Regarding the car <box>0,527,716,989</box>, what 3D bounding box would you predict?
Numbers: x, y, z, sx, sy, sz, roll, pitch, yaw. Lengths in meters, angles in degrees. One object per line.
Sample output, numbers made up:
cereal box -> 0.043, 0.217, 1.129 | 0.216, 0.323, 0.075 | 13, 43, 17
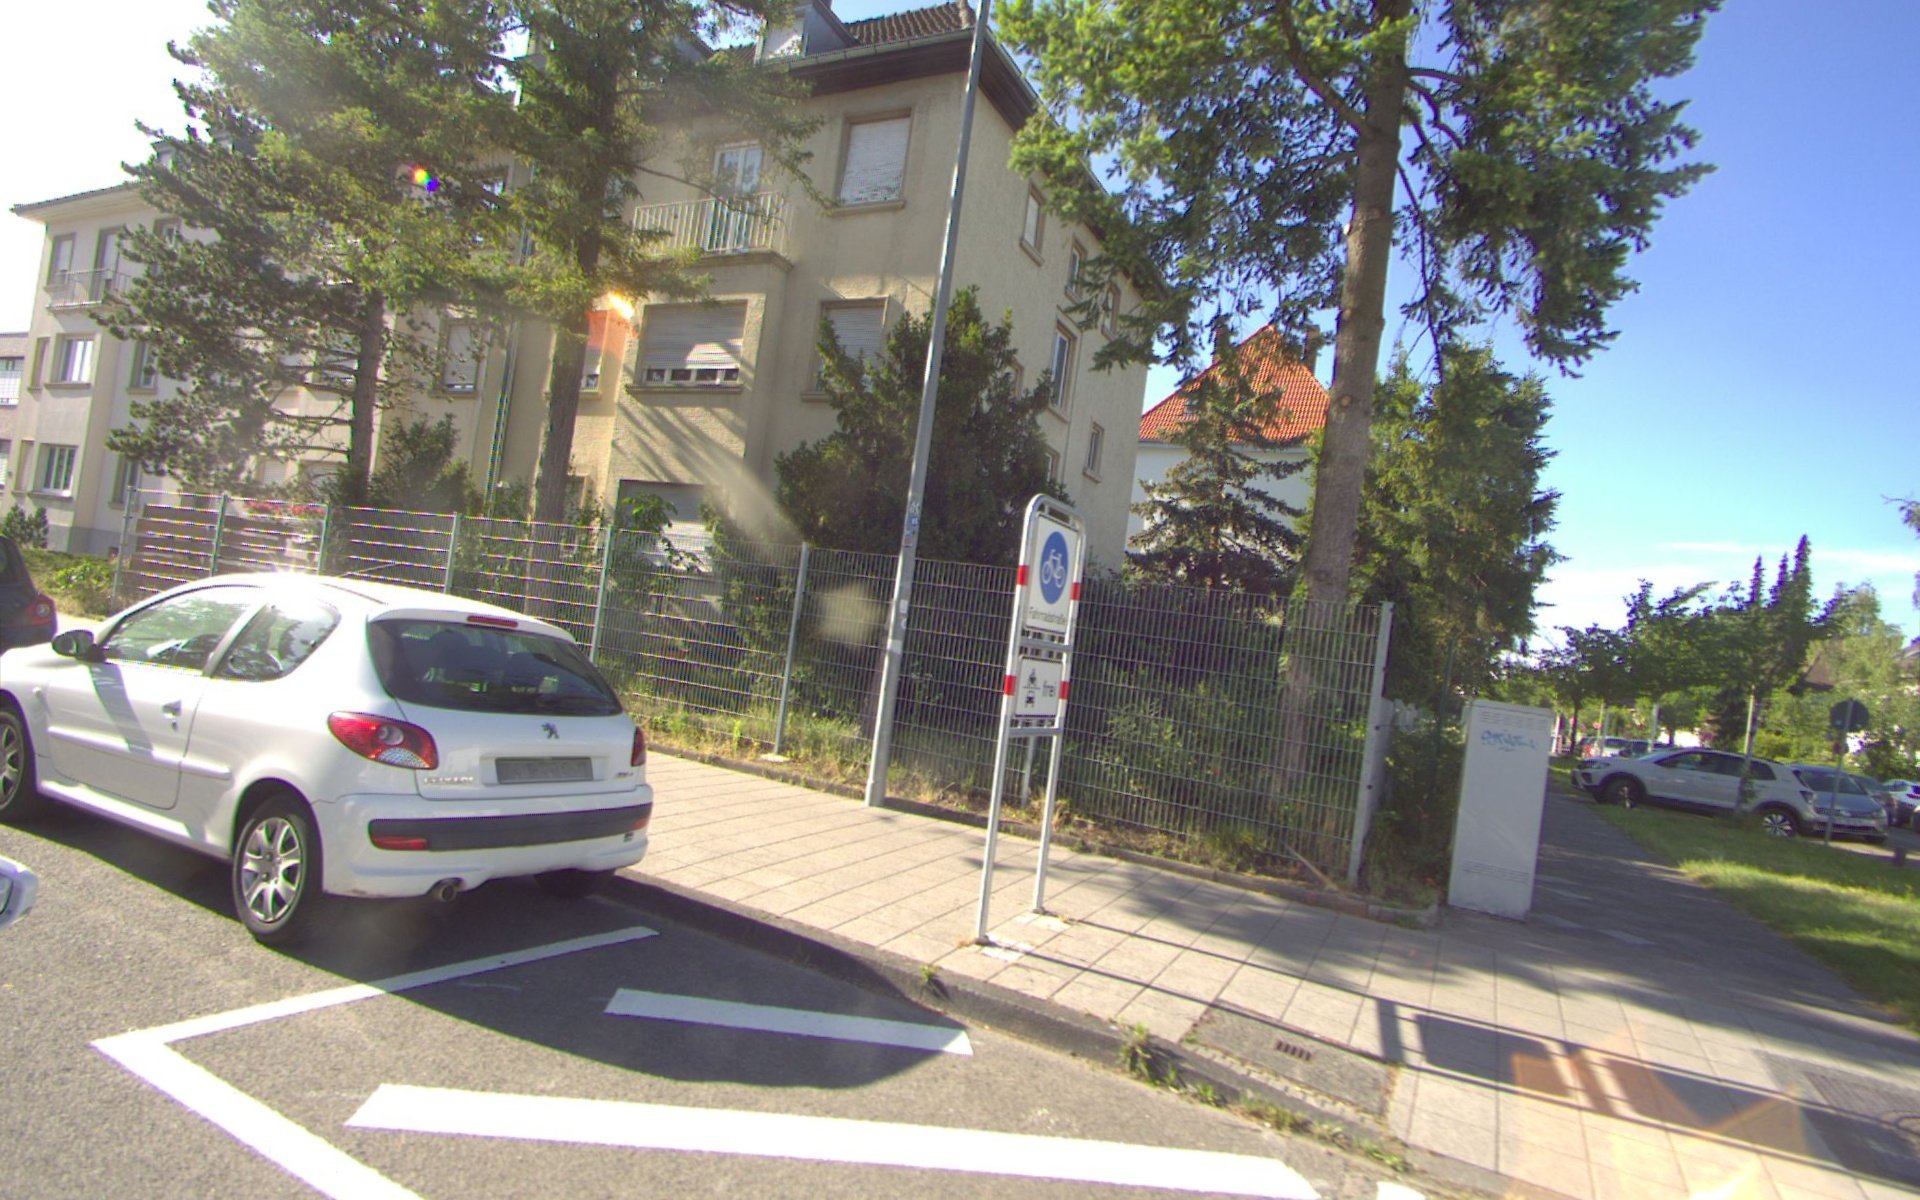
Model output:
car -> -3.338, 0.573, 5.145 | 3.710, 1.413, 1.707 | 6, -3, 27

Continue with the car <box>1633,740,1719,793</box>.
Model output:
car -> 28.044, 6.488, 39.533 | 1.965, 1.627, 4.001 | 3, -4, 25

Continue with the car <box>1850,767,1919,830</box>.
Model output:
car -> 30.521, 6.415, 32.090 | 1.964, 1.628, 4.001 | 7, -3, 25

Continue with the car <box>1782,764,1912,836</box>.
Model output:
car -> 26.017, 5.818, 29.669 | 1.810, 1.457, 4.000 | 8, -2, 28

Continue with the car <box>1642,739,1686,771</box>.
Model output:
car -> 50.954, 11.214, 72.896 | 1.828, 1.862, 4.000 | 7, -3, 26

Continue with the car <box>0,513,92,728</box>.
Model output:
car -> -8.628, -0.086, 7.637 | 3.759, 1.511, 1.677 | 6, -3, 28

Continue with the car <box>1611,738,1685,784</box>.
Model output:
car -> 30.519, 7.095, 44.722 | 1.965, 1.627, 4.001 | 3, -4, 25

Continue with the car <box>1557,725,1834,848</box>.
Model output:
car -> 14.875, 3.730, 20.661 | 4.130, 1.581, 1.843 | 8, -2, 24

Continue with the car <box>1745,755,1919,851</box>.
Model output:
car -> 20.262, 4.655, 23.599 | 1.965, 1.627, 4.001 | 3, -4, 25
